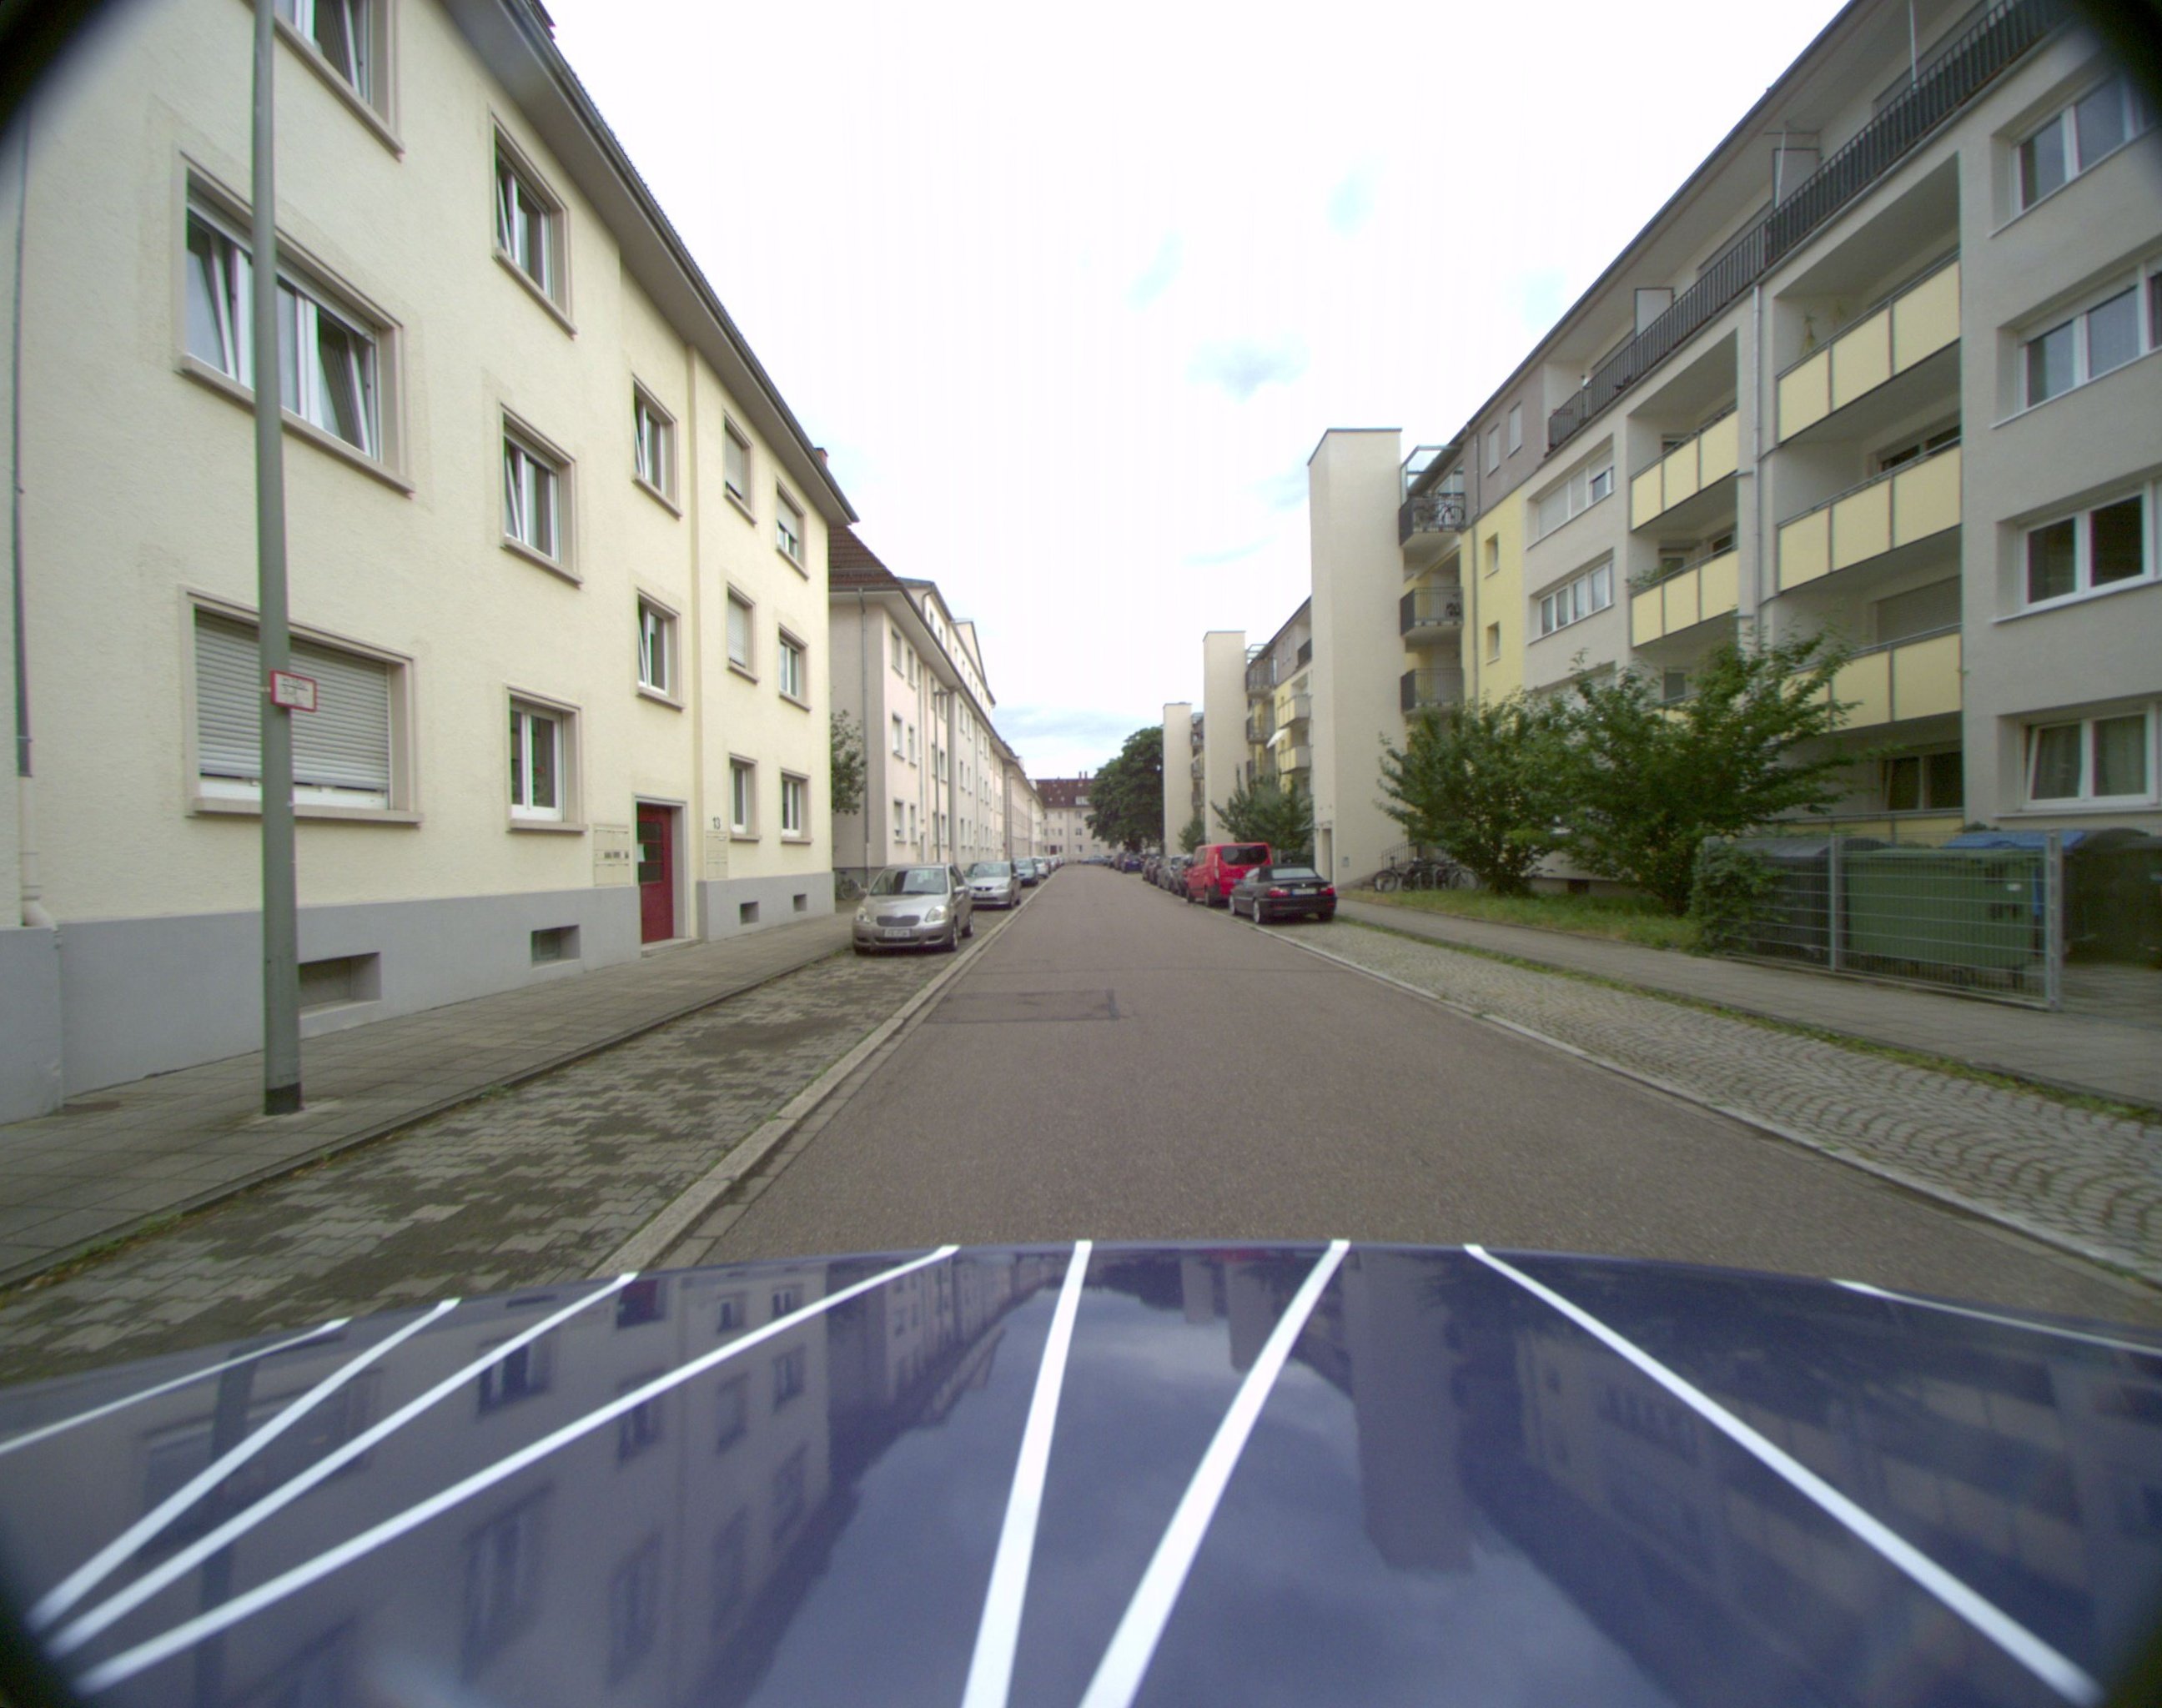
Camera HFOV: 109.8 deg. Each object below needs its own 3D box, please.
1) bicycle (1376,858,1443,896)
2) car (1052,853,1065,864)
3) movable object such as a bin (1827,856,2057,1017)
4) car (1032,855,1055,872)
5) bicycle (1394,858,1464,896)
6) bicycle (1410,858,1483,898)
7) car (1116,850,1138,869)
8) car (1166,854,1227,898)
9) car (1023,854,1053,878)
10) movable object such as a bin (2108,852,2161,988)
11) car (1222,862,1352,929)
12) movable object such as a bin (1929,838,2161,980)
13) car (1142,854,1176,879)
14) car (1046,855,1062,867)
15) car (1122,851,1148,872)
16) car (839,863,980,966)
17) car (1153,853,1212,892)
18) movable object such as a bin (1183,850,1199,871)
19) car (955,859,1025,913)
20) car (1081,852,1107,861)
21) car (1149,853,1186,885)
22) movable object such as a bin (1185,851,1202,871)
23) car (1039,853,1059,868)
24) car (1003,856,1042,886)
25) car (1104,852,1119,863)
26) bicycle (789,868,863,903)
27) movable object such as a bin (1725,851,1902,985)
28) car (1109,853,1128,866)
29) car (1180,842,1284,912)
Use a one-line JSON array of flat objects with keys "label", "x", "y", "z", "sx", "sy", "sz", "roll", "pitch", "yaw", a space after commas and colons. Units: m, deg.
[{"label": "bicycle", "x": 10.344, "y": 0.714, "z": 23.953, "sx": 1.839, "sy": 1.112, "sz": 0.604, "roll": -2, "pitch": 1, "yaw": -2}, {"label": "car", "x": -3.172, "y": 0.658, "z": 109.725, "sx": 1.764, "sy": 1.595, "sz": 3.956, "roll": 0, "pitch": 0, "yaw": 0}, {"label": "movable object such as a bin", "x": 8.367, "y": 0.749, "z": 7.472, "sx": 0.805, "sy": 1.421, "sz": 1.288, "roll": -2, "pitch": 1, "yaw": 3}, {"label": "car", "x": -3.179, "y": 0.797, "z": 64.428, "sx": 1.758, "sy": 1.401, "sz": 3.936, "roll": 0, "pitch": 0, "yaw": 0}, {"label": "bicycle", "x": 10.648, "y": 0.704, "z": 23.281, "sx": 1.839, "sy": 1.112, "sz": 0.570, "roll": -1, "pitch": 1, "yaw": 2}, {"label": "bicycle", "x": 10.707, "y": 0.707, "z": 22.306, "sx": 1.838, "sy": 1.112, "sz": 0.570, "roll": -1, "pitch": 0, "yaw": 6}, {"label": "car", "x": 4.605, "y": 0.546, "z": 76.698, "sx": 1.891, "sy": 1.844, "sz": 4.785, "roll": -1, "pitch": 0, "yaw": -1}, {"label": "car", "x": 4.527, "y": 0.811, "z": 30.231, "sx": 1.725, "sy": 1.561, "sz": 4.053, "roll": -3, "pitch": 0, "yaw": 0}, {"label": "car", "x": -2.965, "y": 0.791, "z": 52.543, "sx": 1.788, "sy": 1.590, "sz": 3.804, "roll": 0, "pitch": 0, "yaw": 1}, {"label": "movable object such as a bin", "x": 11.164, "y": 0.645, "z": 7.246, "sx": 0.982, "sy": 1.332, "sz": 1.288, "roll": -2, "pitch": 1, "yaw": 0}, {"label": "car", "x": 4.843, "y": 0.918, "z": 18.527, "sx": 1.875, "sy": 1.316, "sz": 4.361, "roll": -1, "pitch": 0, "yaw": -1}, {"label": "movable object such as a bin", "x": 11.123, "y": 0.570, "z": 8.666, "sx": 1.355, "sy": 1.456, "sz": 1.372, "roll": -2, "pitch": 1, "yaw": -2}, {"label": "car", "x": 4.728, "y": 0.733, "z": 46.588, "sx": 1.647, "sy": 1.430, "sz": 3.856, "roll": -3, "pitch": 0, "yaw": 0}, {"label": "car", "x": -3.290, "y": 0.869, "z": 93.514, "sx": 1.758, "sy": 1.477, "sz": 3.773, "roll": 0, "pitch": 0, "yaw": 0}, {"label": "car", "x": 4.588, "y": 0.595, "z": 64.658, "sx": 1.804, "sy": 1.617, "sz": 4.471, "roll": -2, "pitch": 0, "yaw": 0}, {"label": "car", "x": -2.922, "y": 0.965, "z": 13.798, "sx": 1.729, "sy": 1.508, "sz": 4.060, "roll": -1, "pitch": 0, "yaw": -2}, {"label": "car", "x": 4.610, "y": 0.804, "z": 35.253, "sx": 1.839, "sy": 1.561, "sz": 4.860, "roll": -3, "pitch": 0, "yaw": -3}, {"label": "movable object such as a bin", "x": 8.202, "y": 0.469, "z": 56.614, "sx": 1.004, "sy": 1.492, "sz": 1.314, "roll": -2, "pitch": 1, "yaw": 0}, {"label": "car", "x": -2.783, "y": 0.942, "z": 23.976, "sx": 1.729, "sy": 1.483, "sz": 4.060, "roll": -1, "pitch": 0, "yaw": -1}, {"label": "car", "x": 2.369, "y": 0.400, "z": 134.907, "sx": 4.546, "sy": 1.551, "sz": 1.565, "roll": 0, "pitch": 1, "yaw": 4}, {"label": "car", "x": 4.621, "y": 0.775, "z": 41.055, "sx": 1.657, "sy": 1.521, "sz": 3.895, "roll": -3, "pitch": 0, "yaw": 2}, {"label": "movable object such as a bin", "x": 8.182, "y": 0.506, "z": 55.273, "sx": 1.004, "sy": 1.438, "sz": 1.314, "roll": -2, "pitch": 1, "yaw": 0}, {"label": "car", "x": -3.077, "y": 0.593, "z": 74.424, "sx": 1.792, "sy": 1.455, "sz": 4.039, "roll": 0, "pitch": 0, "yaw": 0}, {"label": "car", "x": -2.992, "y": 0.841, "z": 39.844, "sx": 1.729, "sy": 1.460, "sz": 4.263, "roll": -1, "pitch": 0, "yaw": -1}, {"label": "car", "x": 4.447, "y": 0.523, "z": 112.136, "sx": 2.000, "sy": 1.566, "sz": 4.209, "roll": -3, "pitch": 0, "yaw": 0}, {"label": "bicycle", "x": -8.430, "y": 1.034, "z": 25.170, "sx": 2.214, "sy": 1.070, "sz": 0.648, "roll": -1, "pitch": 1, "yaw": -1}, {"label": "movable object such as a bin", "x": 8.403, "y": 0.683, "z": 8.793, "sx": 0.805, "sy": 1.421, "sz": 1.288, "roll": -2, "pitch": 1, "yaw": 2}, {"label": "car", "x": 4.522, "y": 0.695, "z": 92.005, "sx": 1.919, "sy": 1.431, "sz": 4.433, "roll": -3, "pitch": 0, "yaw": -2}, {"label": "car", "x": 4.739, "y": 0.652, "z": 24.677, "sx": 2.157, "sy": 1.942, "sz": 4.920, "roll": -3, "pitch": 0, "yaw": -2}]
